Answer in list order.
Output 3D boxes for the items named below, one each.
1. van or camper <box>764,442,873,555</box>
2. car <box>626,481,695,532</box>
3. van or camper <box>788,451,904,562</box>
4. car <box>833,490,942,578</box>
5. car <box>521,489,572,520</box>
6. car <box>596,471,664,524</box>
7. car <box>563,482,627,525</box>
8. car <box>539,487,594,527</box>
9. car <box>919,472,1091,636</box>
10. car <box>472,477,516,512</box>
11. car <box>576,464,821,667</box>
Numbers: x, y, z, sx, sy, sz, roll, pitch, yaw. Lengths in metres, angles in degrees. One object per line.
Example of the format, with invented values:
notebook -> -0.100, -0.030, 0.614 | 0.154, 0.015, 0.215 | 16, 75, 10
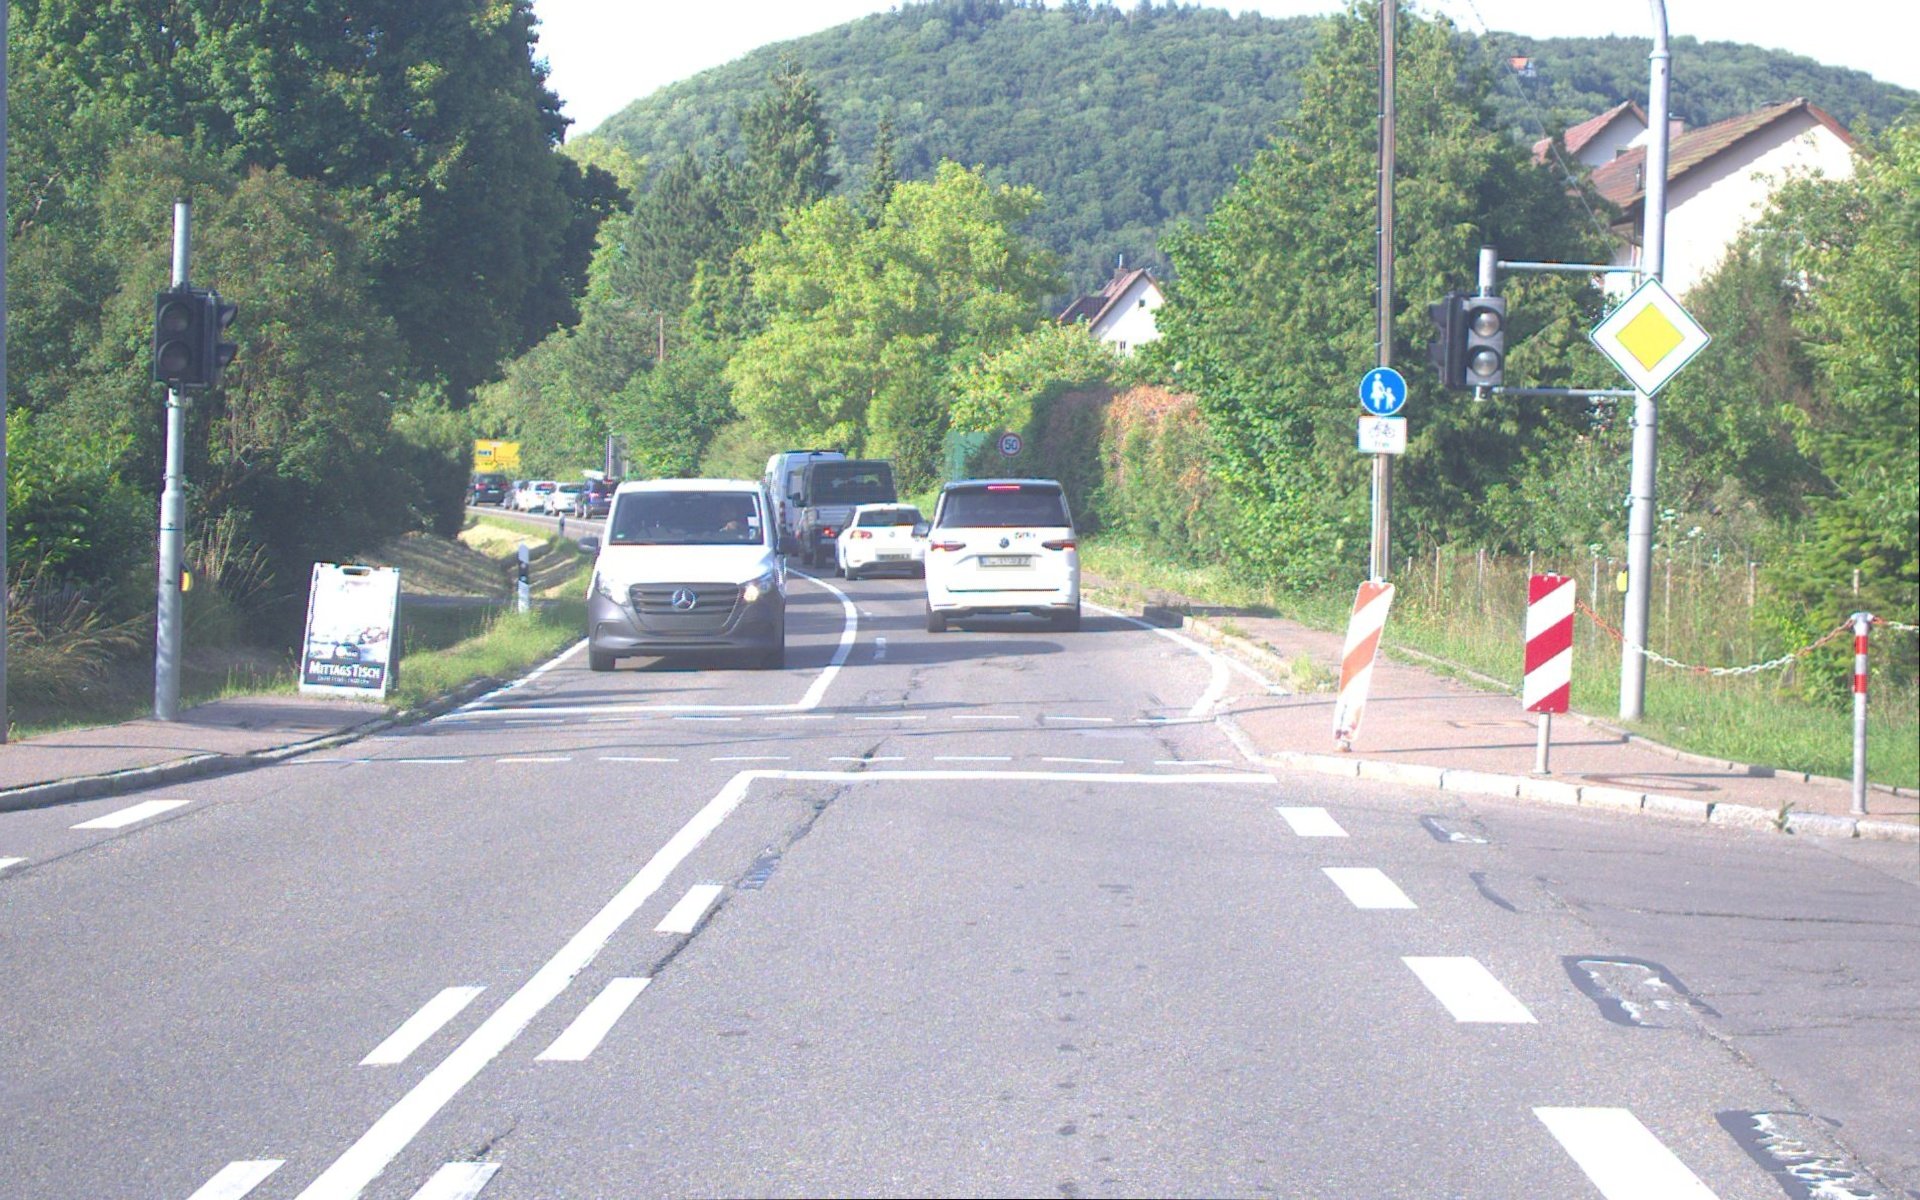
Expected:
van or camper -> -3.809, -2.719, 91.625 | 2.414, 2.894, 6.133 | 0, 2, -7
car -> -10.989, -3.445, 125.790 | 1.796, 1.787, 4.002 | 0, 2, -15
van or camper -> -2.584, -2.104, 76.742 | 2.179, 2.377, 5.371 | 0, 2, -6
car -> -1.461, -1.320, 67.713 | 1.993, 1.678, 4.001 | 0, 2, -3
car -> -19.112, -4.430, 158.832 | 1.941, 1.419, 4.002 | 0, 2, -13
car -> -12.730, -3.955, 132.465 | 1.993, 2.006, 4.002 | 0, 2, -14
car -> -14.986, -3.980, 141.109 | 2.040, 1.678, 4.002 | 1, 2, -14
car -> -17.148, -4.041, 149.711 | 1.941, 1.678, 4.001 | -1, 1, -12
car -> 0.517, -0.645, 43.984 | 1.993, 1.870, 4.872 | 2, 2, -1
car -> -24.017, -5.411, 177.205 | 1.771, 1.776, 4.001 | -1, 2, -15
car -> -2.591, -0.417, 35.260 | 1.993, 1.897, 5.253 | -1, 2, 1
